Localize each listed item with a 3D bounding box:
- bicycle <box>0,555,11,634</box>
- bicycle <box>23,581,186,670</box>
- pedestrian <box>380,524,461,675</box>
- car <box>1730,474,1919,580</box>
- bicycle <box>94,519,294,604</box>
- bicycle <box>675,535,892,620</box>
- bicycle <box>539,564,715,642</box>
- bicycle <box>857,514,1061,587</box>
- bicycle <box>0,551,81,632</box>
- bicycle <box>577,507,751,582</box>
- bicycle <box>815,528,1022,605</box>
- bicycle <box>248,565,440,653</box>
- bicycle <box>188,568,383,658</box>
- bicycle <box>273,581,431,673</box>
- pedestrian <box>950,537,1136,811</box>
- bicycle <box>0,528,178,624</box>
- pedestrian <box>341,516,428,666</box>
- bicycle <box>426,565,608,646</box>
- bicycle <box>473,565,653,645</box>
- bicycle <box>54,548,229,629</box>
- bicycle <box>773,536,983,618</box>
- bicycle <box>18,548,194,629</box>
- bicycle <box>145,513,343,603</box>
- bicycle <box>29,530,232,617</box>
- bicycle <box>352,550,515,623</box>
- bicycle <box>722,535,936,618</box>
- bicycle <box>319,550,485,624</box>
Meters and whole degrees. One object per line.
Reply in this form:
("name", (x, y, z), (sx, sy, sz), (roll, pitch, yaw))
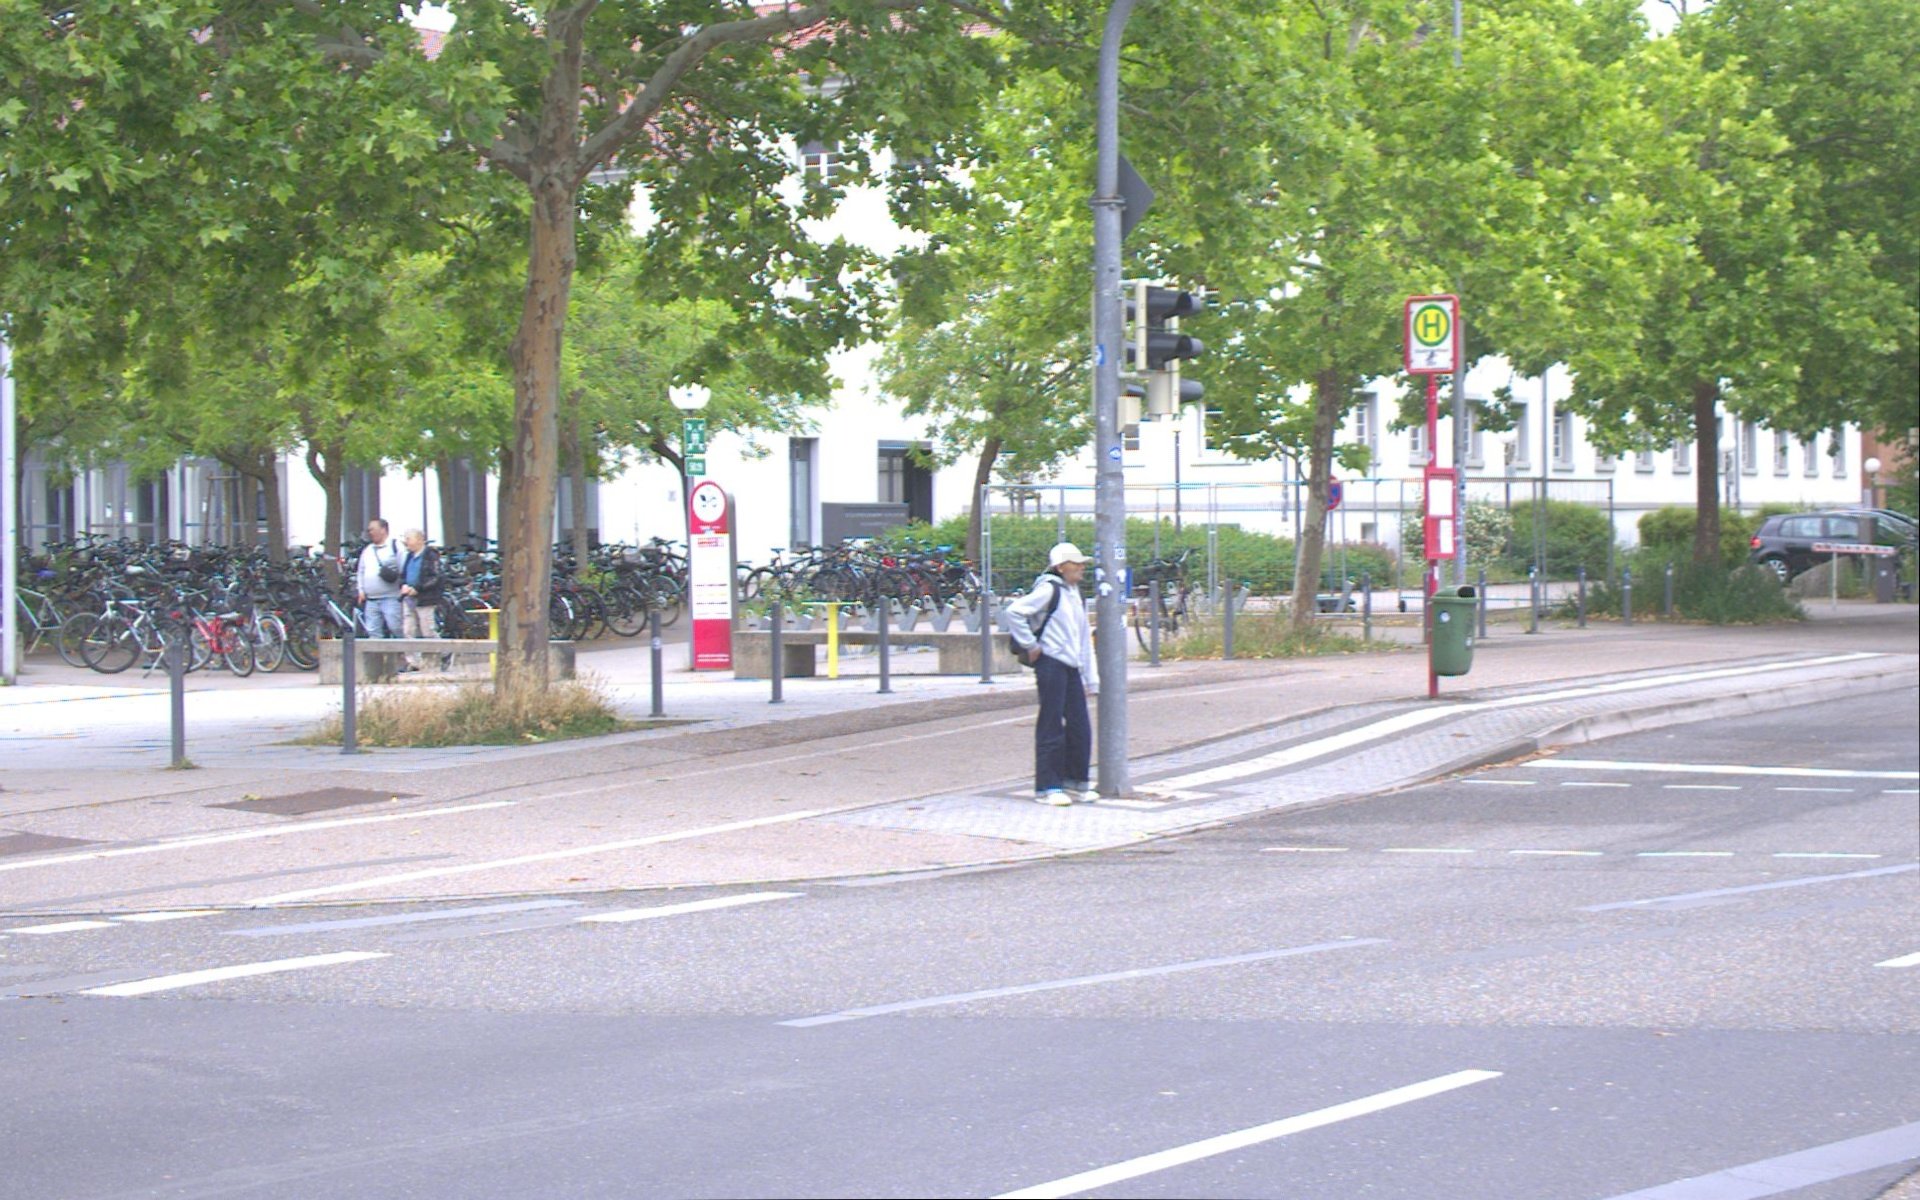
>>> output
("bicycle", (-15.644, -0.143, 51.630), (3.103, 1.166, 0.746), (3, 2, 32))
("bicycle", (-10.333, 0.303, 41.523), (1.931, 1.045, 0.457), (0, 2, 17))
("pedestrian", (-6.206, -0.014, 39.527), (0.657, 1.709, 0.584), (0, 2, 36))
("car", (15.432, -1.274, 59.532), (4.055, 1.747, 1.999), (-1, 2, 14))
("bicycle", (-10.793, -0.540, 48.400), (3.103, 1.166, 0.746), (0, 2, 32))
("bicycle", (-2.722, -0.362, 52.728), (3.390, 1.166, 1.053), (3, 2, 36))
("bicycle", (-5.609, 0.041, 57.720), (3.103, 1.166, 0.746), (3, 2, 32))
("bicycle", (-0.026, -0.820, 56.754), (3.390, 1.166, 1.053), (0, 2, 36))
("bicycle", (-14.948, -0.164, 53.021), (3.103, 1.166, 0.746), (3, 2, 32))
("bicycle", (-5.059, -0.959, 58.543), (3.103, 1.166, 0.746), (3, 2, 32))
("bicycle", (-0.691, -0.542, 55.847), (3.390, 1.166, 1.053), (-1, 1, 36))
("bicycle", (-9.218, 0.124, 51.352), (3.103, 1.166, 0.746), (3, 2, 32))
("bicycle", (-9.900, 0.175, 50.402), (3.103, 1.166, 0.746), (3, 2, 32))
("bicycle", (-7.223, 0.317, 40.795), (1.932, 1.045, 0.456), (1, 3, 26))
("pedestrian", (0.511, 0.443, 21.192), (0.793, 1.621, 0.756), (3, 2, 43))
("bicycle", (-11.948, -0.339, 46.356), (3.103, 1.166, 0.746), (3, 2, 32))
("pedestrian", (-6.698, -0.114, 40.024), (0.677, 1.709, 0.672), (0, 2, 36))
("bicycle", (-7.110, 0.075, 55.090), (3.103, 1.166, 0.746), (3, 2, 32))
("bicycle", (-6.500, 0.063, 56.118), (3.103, 1.166, 0.746), (3, 2, 32))
("bicycle", (-13.303, -0.198, 55.823), (3.103, 1.166, 0.746), (3, 2, 31))
("bicycle", (-1.327, -0.387, 54.944), (3.390, 1.166, 1.053), (3, 2, 36))
("bicycle", (-13.720, -0.191, 55.165), (3.103, 1.166, 0.746), (3, 2, 31))
("bicycle", (-10.286, -0.615, 49.296), (3.103, 1.166, 0.746), (3, 2, 32))
("bicycle", (-11.456, -0.368, 47.415), (3.103, 1.166, 0.746), (0, 2, 32))
("bicycle", (-9.417, -0.249, 61.405), (3.103, 1.166, 0.746), (3, 2, 31))
("bicycle", (-2.071, -0.378, 53.905), (3.390, 1.166, 1.053), (3, 2, 36))
("bicycle", (-9.855, -0.239, 60.654), (3.103, 1.166, 0.746), (3, 2, 31))
